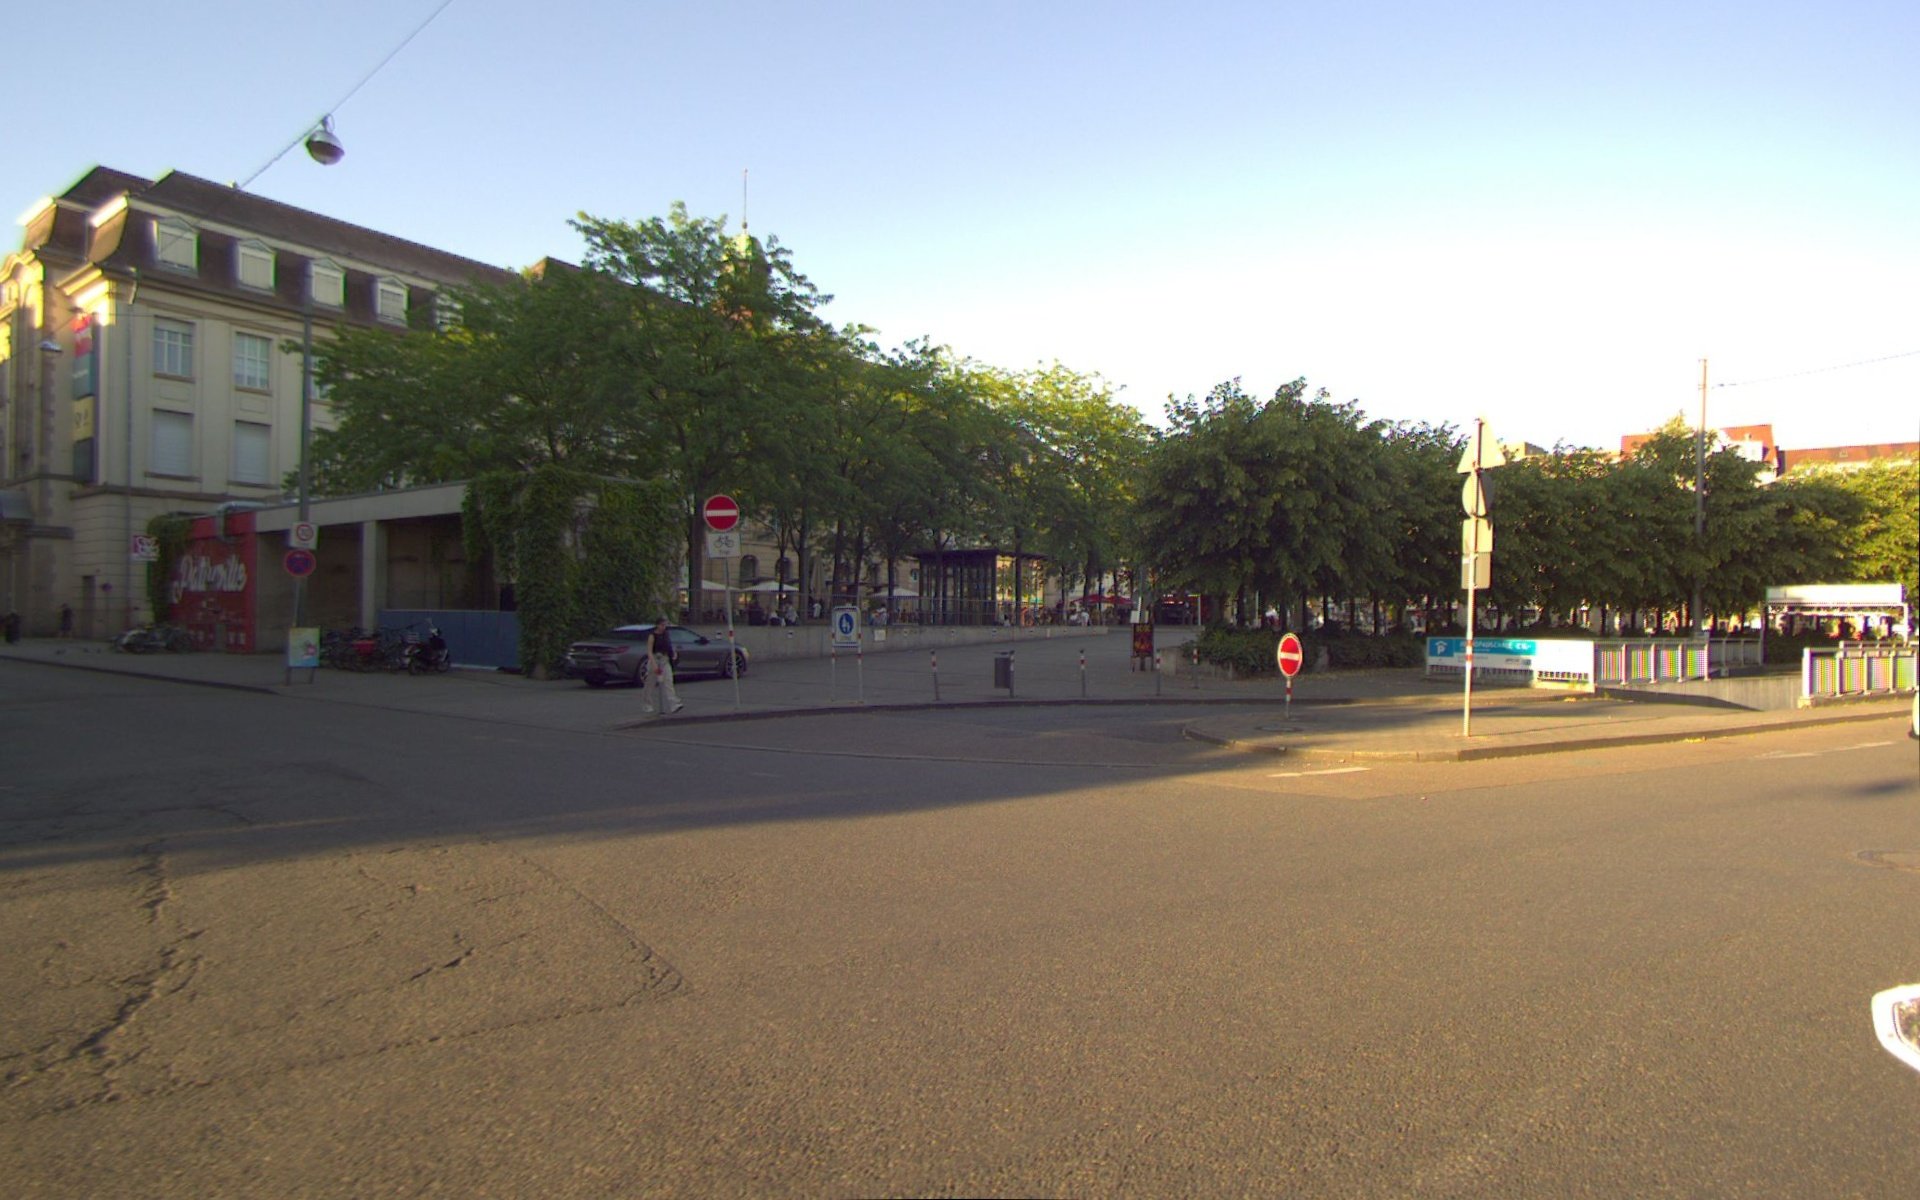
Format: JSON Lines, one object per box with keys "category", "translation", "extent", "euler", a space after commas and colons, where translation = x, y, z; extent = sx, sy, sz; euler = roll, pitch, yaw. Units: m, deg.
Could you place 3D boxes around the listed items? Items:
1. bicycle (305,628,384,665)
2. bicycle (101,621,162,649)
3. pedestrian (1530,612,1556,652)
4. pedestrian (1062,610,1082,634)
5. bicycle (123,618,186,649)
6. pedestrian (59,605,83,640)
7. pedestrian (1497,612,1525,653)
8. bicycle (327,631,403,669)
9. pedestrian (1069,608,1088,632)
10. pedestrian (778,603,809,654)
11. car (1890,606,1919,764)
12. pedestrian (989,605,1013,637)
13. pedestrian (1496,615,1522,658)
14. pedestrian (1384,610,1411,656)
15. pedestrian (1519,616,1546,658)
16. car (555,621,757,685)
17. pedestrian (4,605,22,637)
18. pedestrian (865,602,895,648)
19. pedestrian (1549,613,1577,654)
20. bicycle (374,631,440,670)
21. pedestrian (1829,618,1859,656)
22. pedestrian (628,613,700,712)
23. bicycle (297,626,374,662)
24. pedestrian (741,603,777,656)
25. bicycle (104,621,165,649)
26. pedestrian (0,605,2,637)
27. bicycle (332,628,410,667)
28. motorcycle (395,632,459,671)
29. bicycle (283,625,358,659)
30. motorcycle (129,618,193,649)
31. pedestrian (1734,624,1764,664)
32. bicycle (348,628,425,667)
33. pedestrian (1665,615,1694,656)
{"category": "bicycle", "translation": [-17.050, 1.276, 27.856], "extent": [0.503, 0.935, 1.796], "euler": [1, 0, 39]}
{"category": "bicycle", "translation": [-32.191, 1.345, 39.059], "extent": [0.504, 1.022, 1.794], "euler": [1, 1, 43]}
{"category": "pedestrian", "translation": [24.480, 1.331, 42.184], "extent": [0.558, 1.616, 0.791], "euler": [1, 0, -11]}
{"category": "pedestrian", "translation": [5.213, 1.018, 46.774], "extent": [0.703, 1.073, 0.609], "euler": [0, 0, 35]}
{"category": "bicycle", "translation": [-30.112, 1.249, 37.554], "extent": [0.503, 1.093, 1.795], "euler": [1, 1, 42]}
{"category": "pedestrian", "translation": [-41.669, 1.060, 47.090], "extent": [0.835, 1.619, 0.727], "euler": [1, 0, -42]}
{"category": "pedestrian", "translation": [22.053, 1.292, 40.205], "extent": [0.558, 1.616, 0.791], "euler": [1, 0, -11]}
{"category": "bicycle", "translation": [-16.243, 1.347, 27.464], "extent": [0.501, 0.935, 1.801], "euler": [1, 0, 29]}
{"category": "pedestrian", "translation": [5.607, 0.943, 47.397], "extent": [0.703, 1.134, 0.609], "euler": [0, 0, 35]}
{"category": "pedestrian", "translation": [-5.322, 0.905, 32.082], "extent": [0.612, 1.607, 0.699], "euler": [1, -2, 36]}
{"category": "car", "translation": [12.674, 0.969, 10.170], "extent": [1.977, 1.784, 4.428], "euler": [1, -1, -31]}
{"category": "pedestrian", "translation": [1.732, 0.880, 42.251], "extent": [0.778, 1.296, 0.652], "euler": [1, -2, 35]}
{"category": "pedestrian", "translation": [21.157, 1.413, 38.723], "extent": [0.558, 1.616, 0.678], "euler": [1, 0, -11]}
{"category": "pedestrian", "translation": [15.768, 1.178, 36.218], "extent": [0.693, 1.616, 0.673], "euler": [2, 1, 42]}
{"category": "pedestrian", "translation": [22.327, 1.446, 39.176], "extent": [0.558, 1.616, 0.678], "euler": [1, 0, -11]}
{"category": "car", "translation": [-7.043, 1.177, 23.783], "extent": [1.964, 1.335, 4.521], "euler": [0, -1, 29]}
{"category": "pedestrian", "translation": [-42.277, 0.926, 44.842], "extent": [0.392, 1.415, 0.517], "euler": [0, 0, 32]}
{"category": "pedestrian", "translation": [-2.829, 0.895, 35.525], "extent": [0.778, 1.607, 0.652], "euler": [1, -2, 35]}
{"category": "pedestrian", "translation": [24.752, 1.371, 41.221], "extent": [0.558, 1.616, 0.791], "euler": [1, 0, -11]}
{"category": "bicycle", "translation": [-14.323, 1.294, 26.074], "extent": [0.500, 0.892, 1.805], "euler": [0, 0, 9]}
{"category": "pedestrian", "translation": [38.472, 1.597, 43.714], "extent": [0.558, 1.616, 0.791], "euler": [1, 0, -11]}
{"category": "pedestrian", "translation": [-4.937, 1.021, 16.760], "extent": [0.885, 1.587, 0.765], "euler": [0, 0, 35]}
{"category": "bicycle", "translation": [-17.553, 1.226, 28.261], "extent": [0.503, 0.935, 1.796], "euler": [1, 0, 39]}
{"category": "pedestrian", "translation": [-6.185, 0.909, 30.898], "extent": [0.679, 1.607, 0.767], "euler": [1, -2, 36]}
{"category": "bicycle", "translation": [-31.768, 1.331, 38.667], "extent": [0.504, 1.022, 1.794], "euler": [1, 1, 43]}
{"category": "pedestrian", "translation": [-42.659, 0.916, 44.294], "extent": [0.378, 1.415, 0.541], "euler": [0, 0, 32]}
{"category": "bicycle", "translation": [-15.722, 1.254, 26.836], "extent": [0.501, 0.935, 1.801], "euler": [1, 0, 29]}
{"category": "motorcycle", "translation": [-13.572, 1.296, 25.628], "extent": [0.500, 0.892, 1.805], "euler": [0, 0, 6]}
{"category": "bicycle", "translation": [-18.567, 1.218, 29.190], "extent": [1.776, 0.935, 0.509], "euler": [0, 1, -18]}
{"category": "motorcycle", "translation": [-29.518, 1.227, 37.146], "extent": [0.503, 1.093, 1.796], "euler": [1, 1, 39]}
{"category": "pedestrian", "translation": [32.933, 1.819, 41.943], "extent": [0.665, 1.616, 0.678], "euler": [1, 0, -11]}
{"category": "bicycle", "translation": [-15.130, 1.229, 26.557], "extent": [0.501, 0.935, 1.802], "euler": [1, 0, 26]}
{"category": "pedestrian", "translation": [29.232, 1.437, 40.821], "extent": [0.665, 1.616, 0.678], "euler": [1, 0, -11]}
